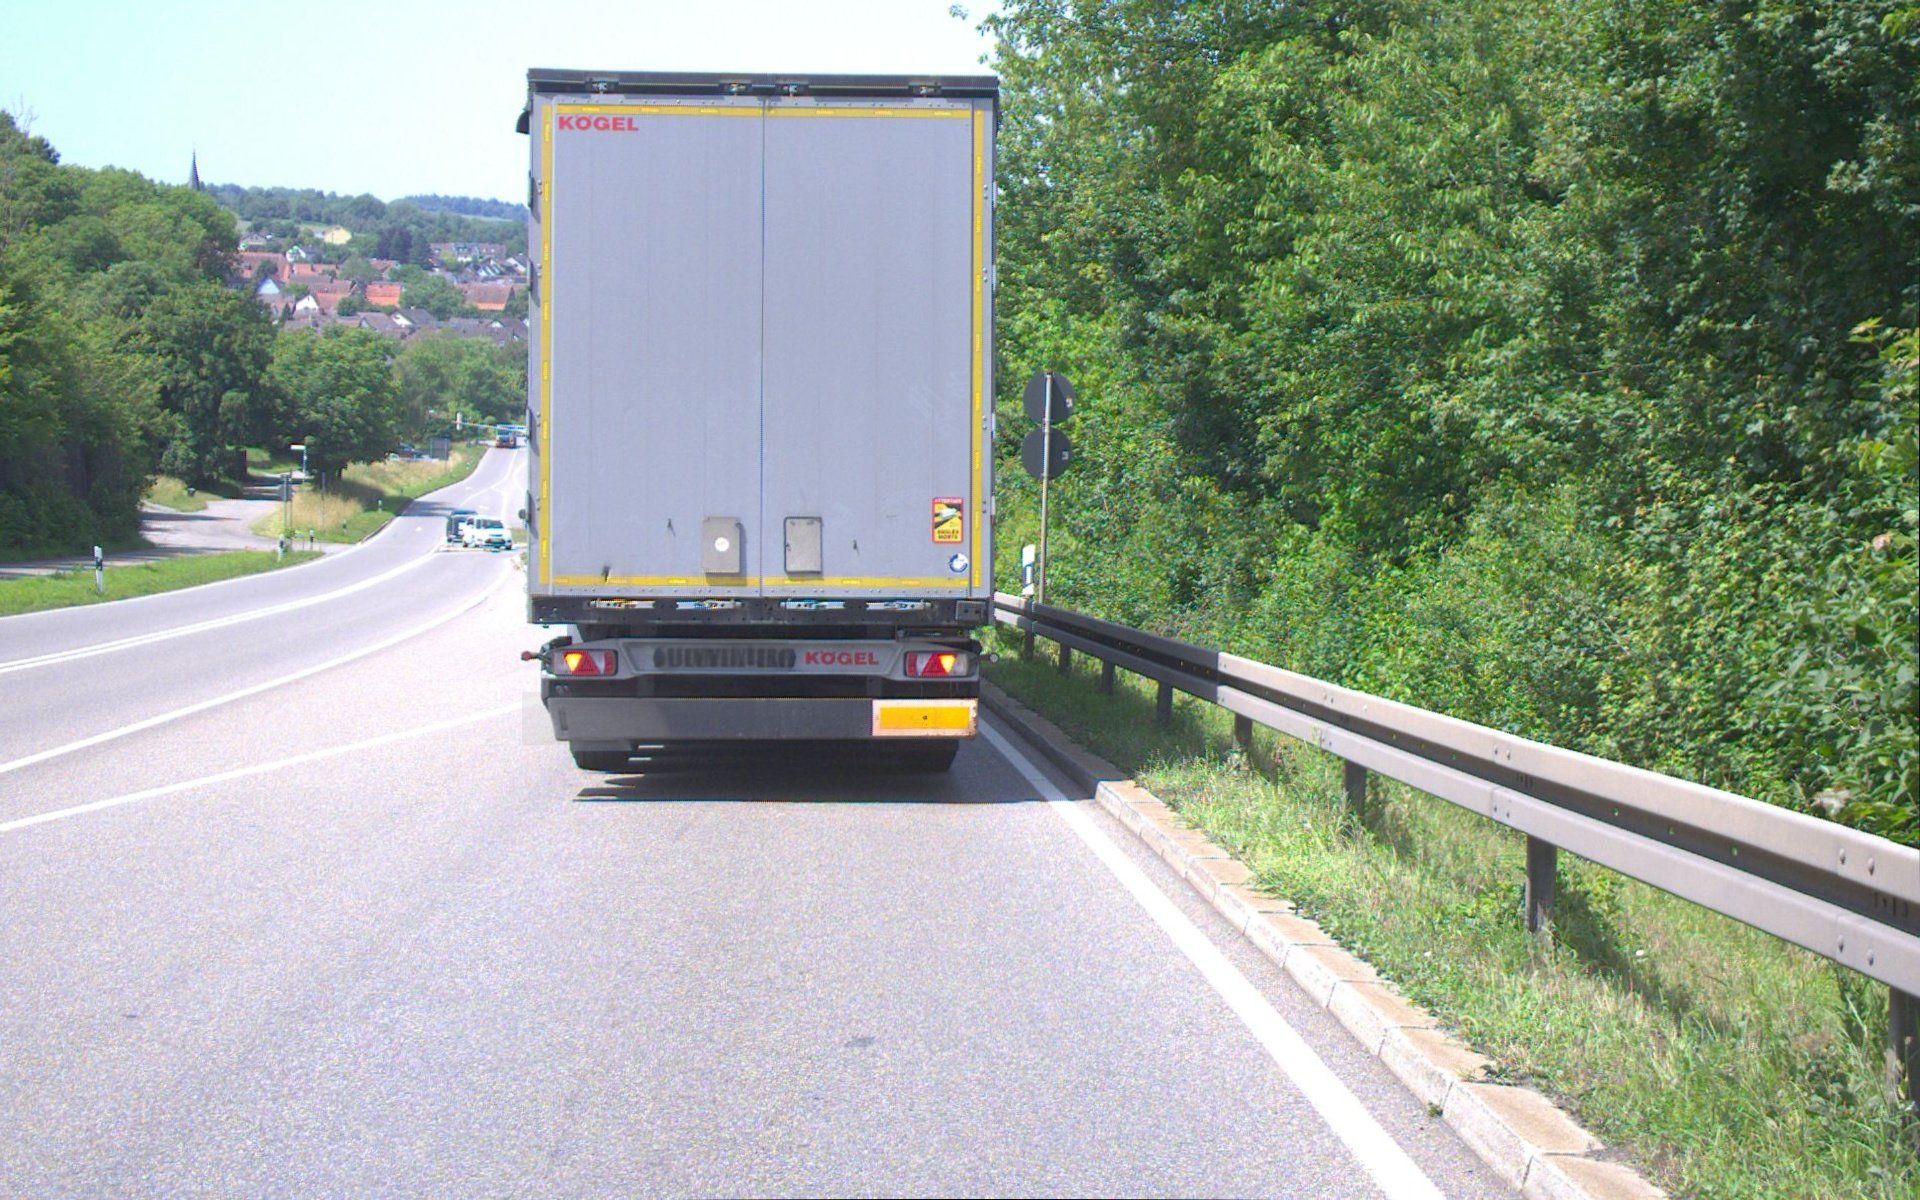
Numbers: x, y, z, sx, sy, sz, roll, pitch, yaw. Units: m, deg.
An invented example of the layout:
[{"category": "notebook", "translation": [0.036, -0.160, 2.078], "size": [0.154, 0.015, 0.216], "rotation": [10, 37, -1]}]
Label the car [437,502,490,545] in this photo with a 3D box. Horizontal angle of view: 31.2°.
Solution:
[{"category": "car", "translation": [-22.785, -3.497, 157.744], "size": [1.763, 1.919, 3.749], "rotation": [1, 1, -19]}]

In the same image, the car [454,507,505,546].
[{"category": "car", "translation": [-22.942, -3.498, 164.149], "size": [1.805, 1.788, 3.843], "rotation": [1, 1, -17]}]

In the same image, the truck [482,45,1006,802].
[{"category": "truck", "translation": [-1.375, -1.078, 24.381], "size": [2.757, 4.016, 11.925], "rotation": [1, 1, -2]}]
